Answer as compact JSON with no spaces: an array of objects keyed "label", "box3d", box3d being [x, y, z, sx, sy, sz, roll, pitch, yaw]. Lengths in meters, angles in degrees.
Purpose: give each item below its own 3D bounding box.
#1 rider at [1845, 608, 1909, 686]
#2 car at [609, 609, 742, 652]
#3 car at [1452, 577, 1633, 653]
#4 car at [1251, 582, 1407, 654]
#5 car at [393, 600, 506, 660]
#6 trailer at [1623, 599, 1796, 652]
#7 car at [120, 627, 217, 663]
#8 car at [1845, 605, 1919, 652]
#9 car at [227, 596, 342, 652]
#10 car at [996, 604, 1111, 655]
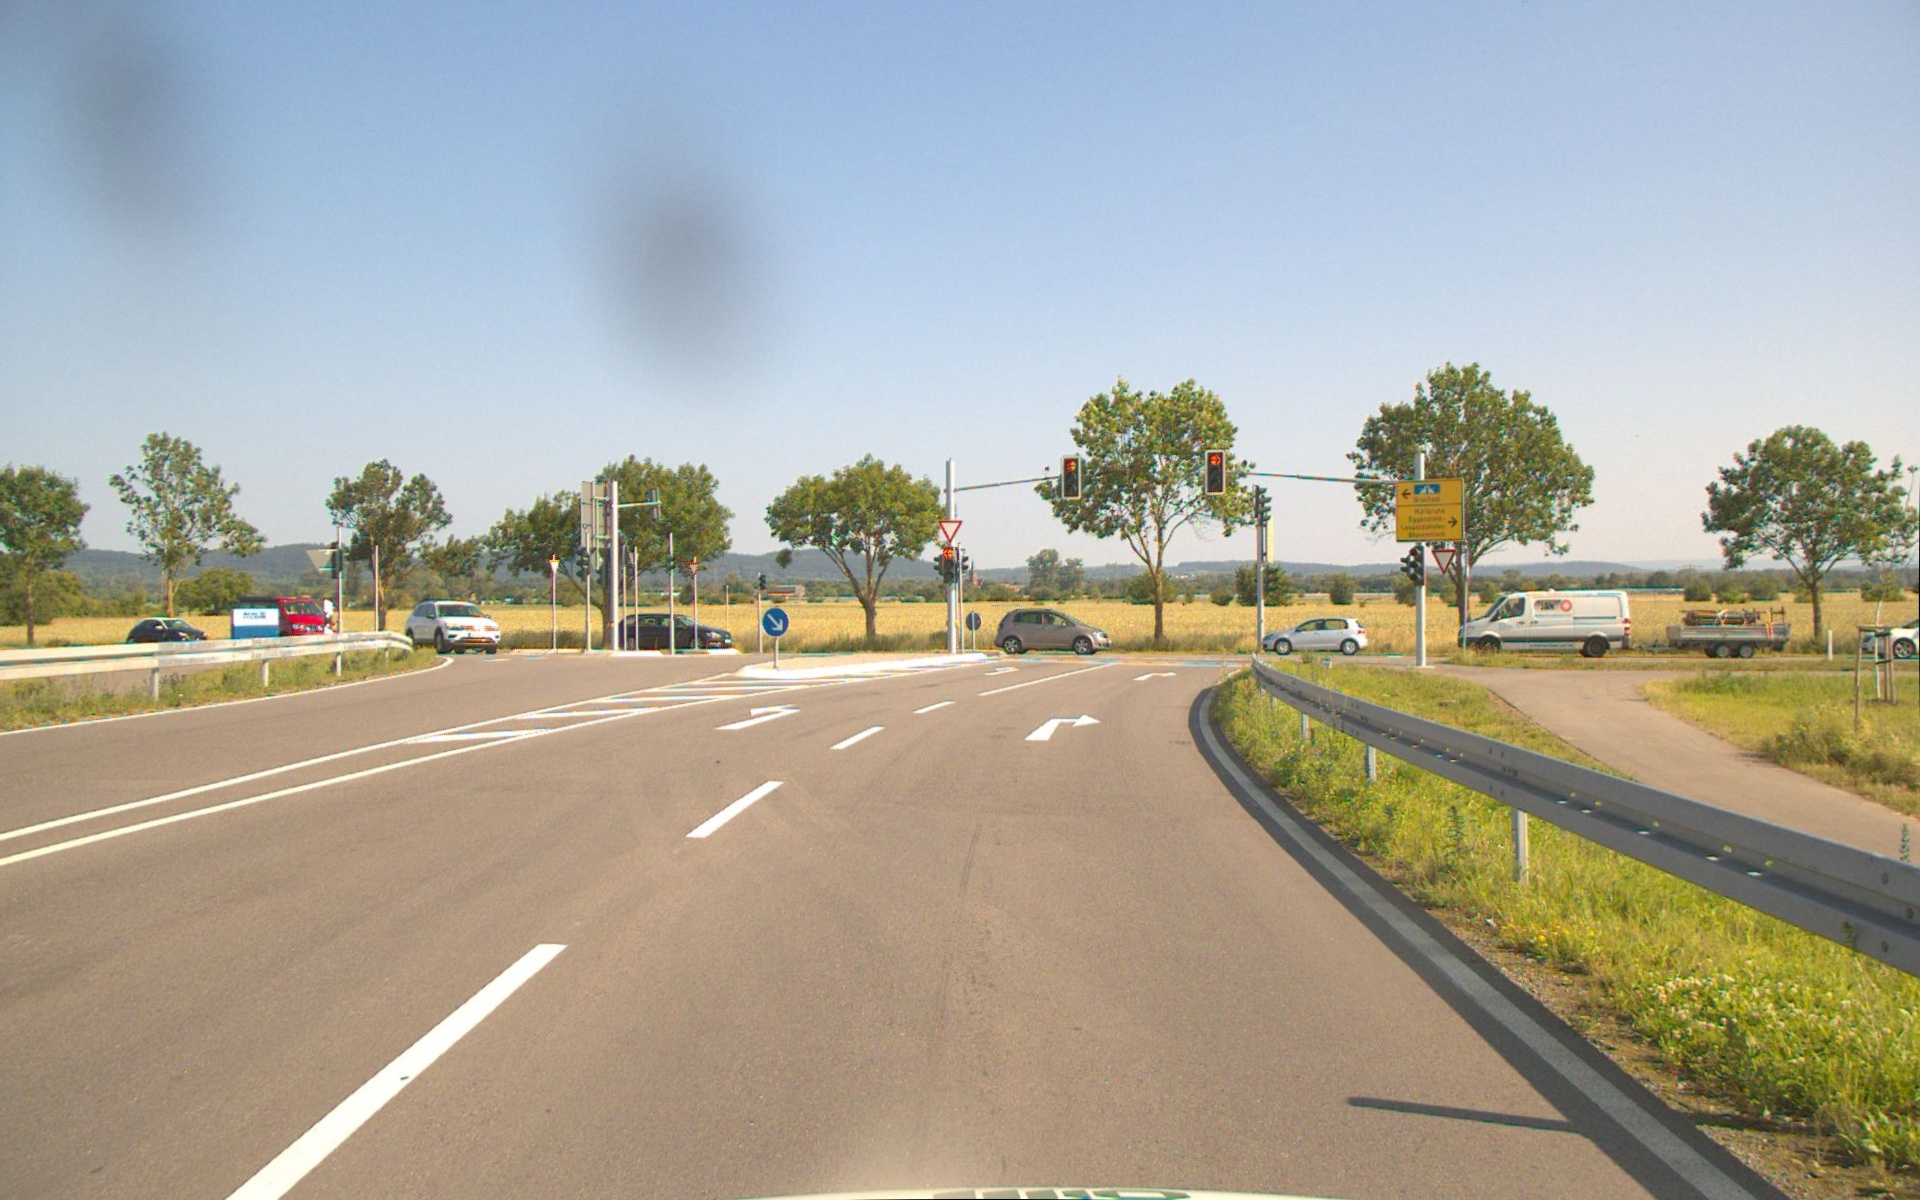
[{"label":"rider","box3d":[20.245,1.020,36.518,0.812,1.671,0.979,-1,1,-35]},{"label":"car","box3d":[-10.779,1.162,62.760,4.573,1.545,1.924,0,1,13]},{"label":"car","box3d":[20.599,0.537,58.757,5.830,2.536,2.001,1,-1,12]},{"label":"car","box3d":[14.404,0.706,64.854,5.765,2.622,2.395,1,-1,8]},{"label":"car","box3d":[-16.153,0.987,52.171,1.681,1.703,4.792,3,-4,-40]},{"label":"trailer","box3d":[26.019,0.901,57.592,5.148,1.784,1.955,0,-1,12]},{"label":"car","box3d":[-34.552,1.976,72.174,3.649,1.482,1.729,-1,0,19]},{"label":"car","box3d":[33.122,1.013,56.429,4.764,1.536,2.001,1,-1,9]},{"label":"car","box3d":[-25.168,0.887,61.531,4.832,1.974,1.830,0,-2,39]},{"label":"car","box3d":[3.356,1.043,58.938,3.870,1.697,1.765,1,-1,11]}]
